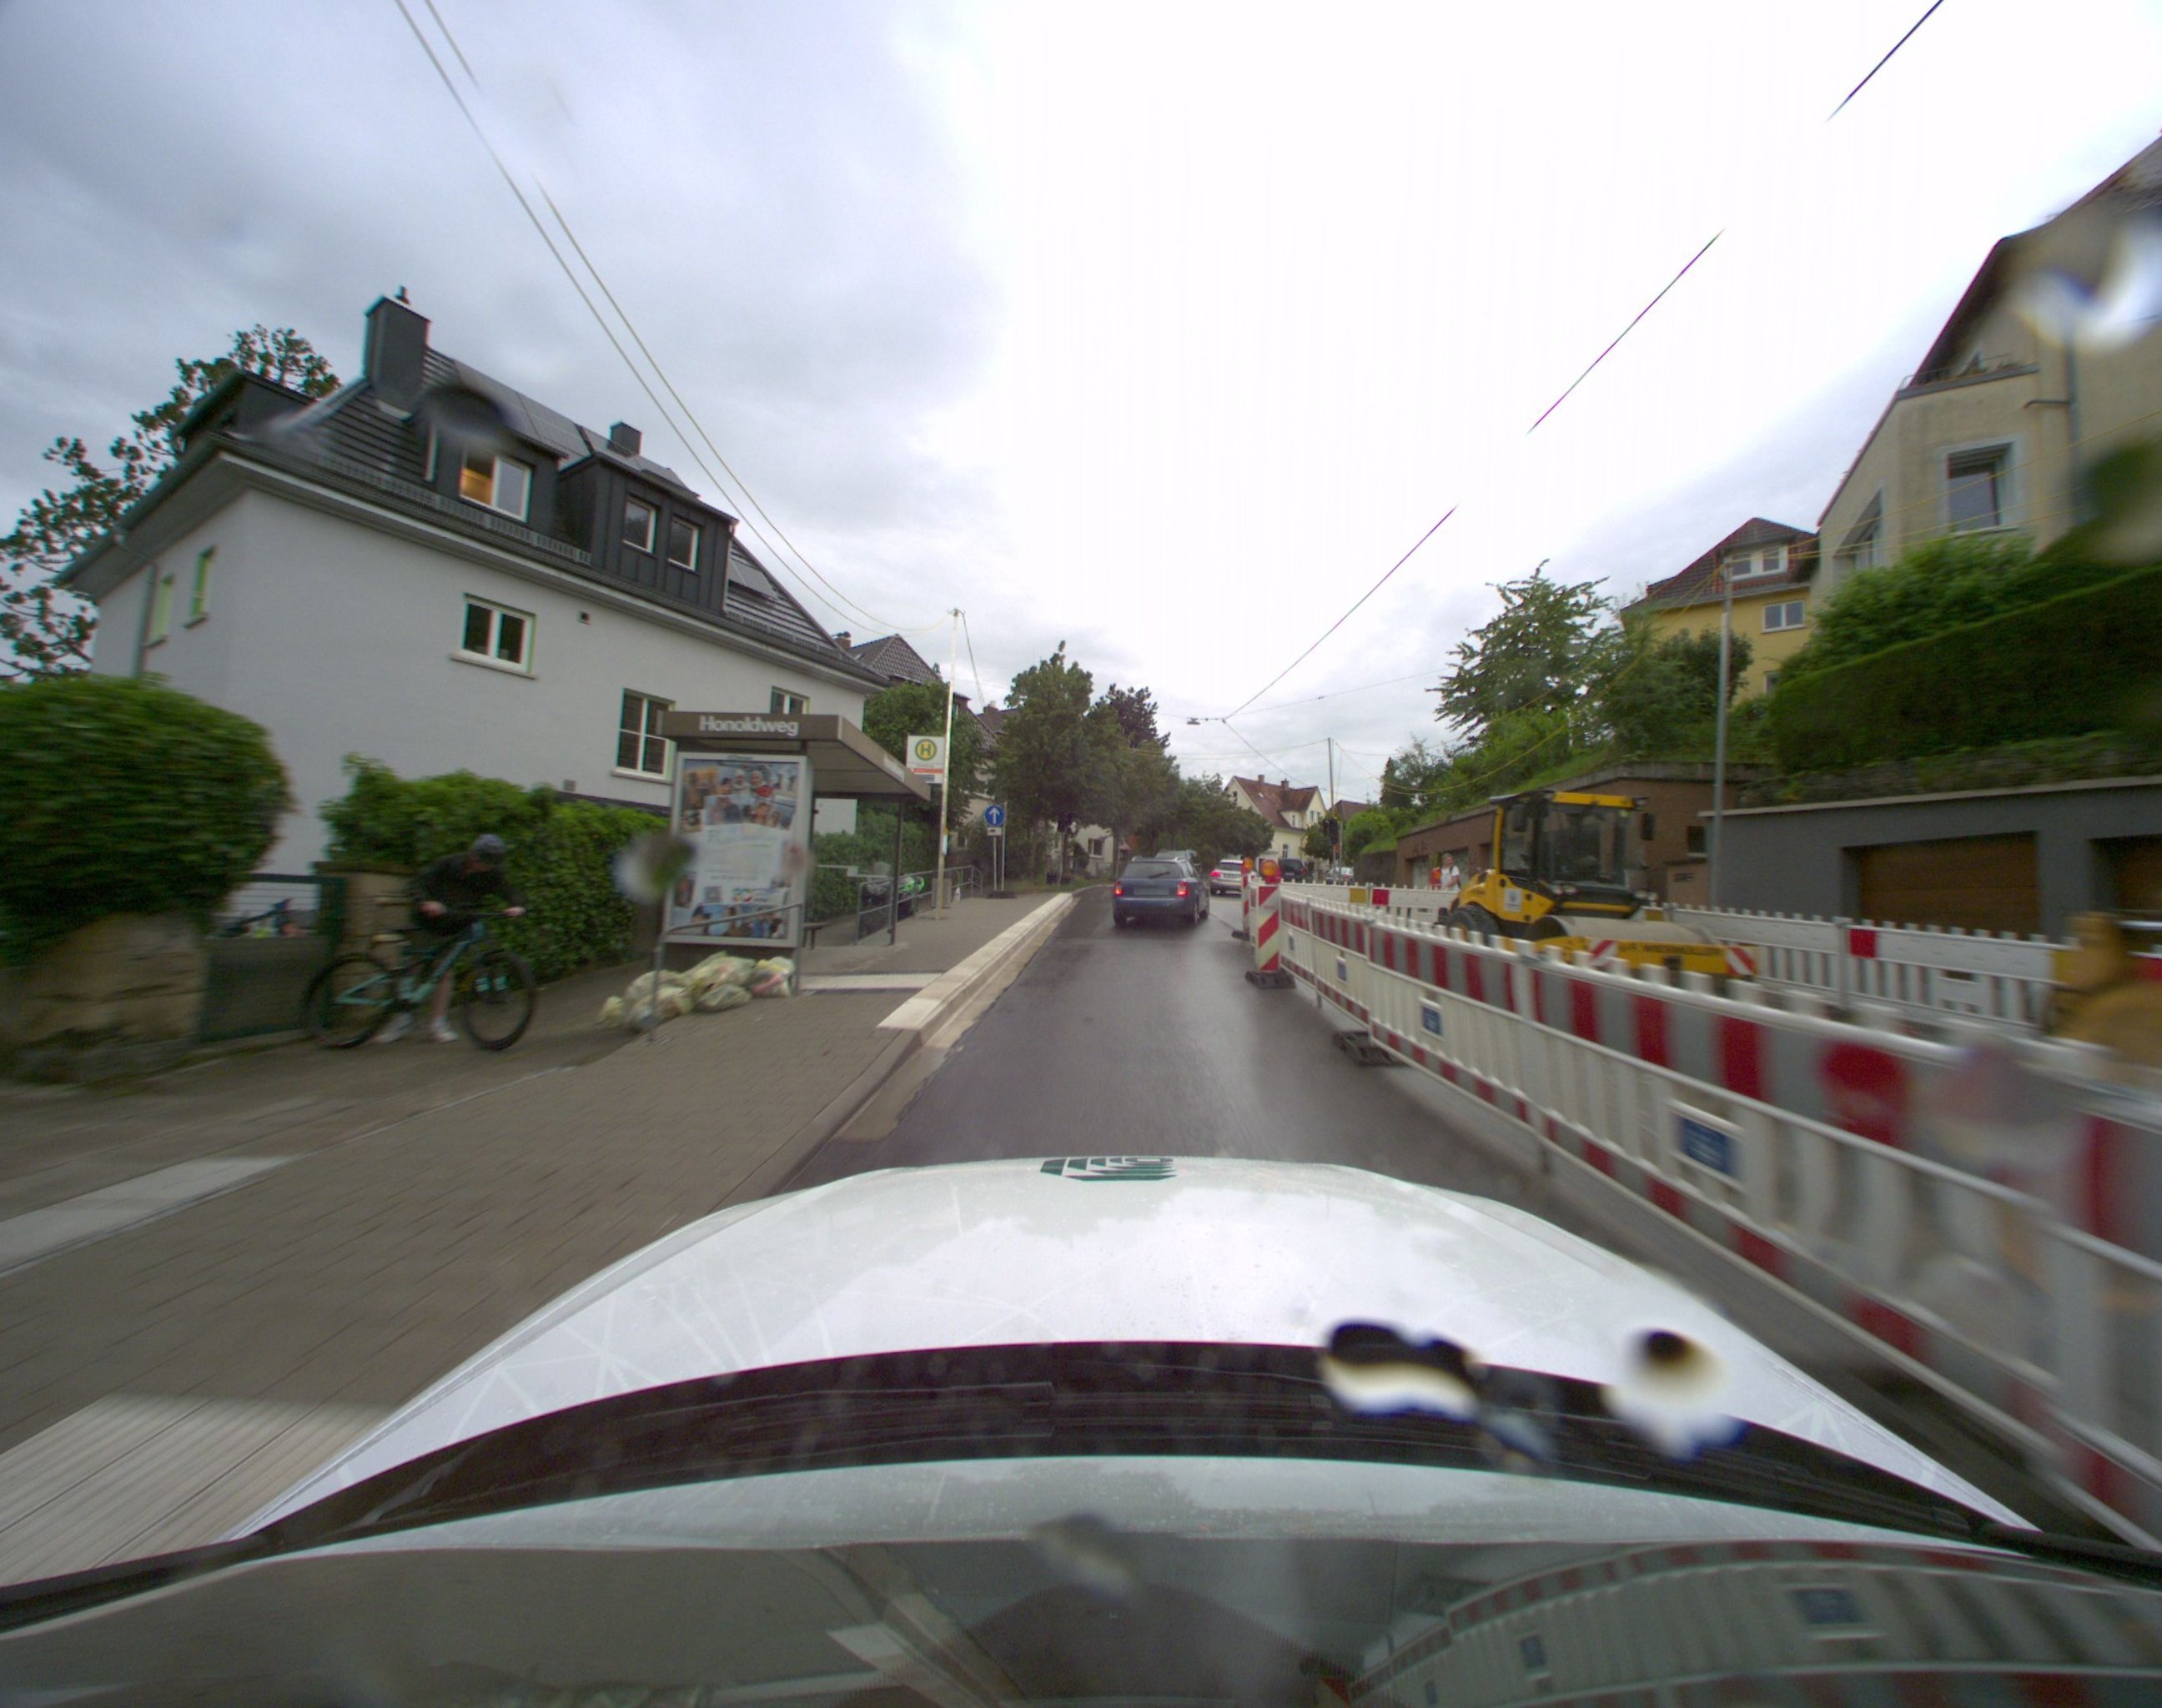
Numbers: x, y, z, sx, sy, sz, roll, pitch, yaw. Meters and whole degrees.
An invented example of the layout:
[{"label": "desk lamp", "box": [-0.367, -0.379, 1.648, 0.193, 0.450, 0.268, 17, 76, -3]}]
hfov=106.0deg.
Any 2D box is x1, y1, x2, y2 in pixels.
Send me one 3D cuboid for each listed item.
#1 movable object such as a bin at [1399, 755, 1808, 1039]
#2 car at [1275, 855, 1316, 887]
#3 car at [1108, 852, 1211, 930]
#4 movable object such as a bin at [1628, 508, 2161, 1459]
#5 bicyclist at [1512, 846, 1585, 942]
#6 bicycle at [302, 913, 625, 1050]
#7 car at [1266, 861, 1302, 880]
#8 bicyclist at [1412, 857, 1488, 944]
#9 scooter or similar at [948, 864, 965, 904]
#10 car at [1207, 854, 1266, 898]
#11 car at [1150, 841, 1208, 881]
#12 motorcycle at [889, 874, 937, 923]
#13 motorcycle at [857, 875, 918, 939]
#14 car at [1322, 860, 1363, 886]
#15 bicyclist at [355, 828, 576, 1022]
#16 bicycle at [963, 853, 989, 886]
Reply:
[{"label": "movable object such as a bin", "box": [6.400, 0.411, 11.091, 2.078, 2.838, 5.680, 1, 0, 2]}, {"label": "car", "box": [13.176, 1.006, 49.899, 1.718, 1.768, 4.259, -1, 1, 24]}, {"label": "car", "box": [1.849, 0.721, 18.030, 1.721, 1.466, 4.015, -1, 1, 13]}, {"label": "movable object such as a bin", "box": [4.259, 0.383, 2.095, 2.078, 2.839, 5.678, 1, -2, 2]}, {"label": "bicyclist", "box": [8.850, 0.735, 15.403, 1.063, 1.728, 0.939, 1, -1, 36]}, {"label": "bicycle", "box": [-4.953, 0.978, 6.638, 1.860, 0.932, 1.100, 0, -1, 10]}, {"label": "car", "box": [16.717, 1.347, 66.870, 1.654, 1.466, 3.919, -1, -2, 33]}, {"label": "bicyclist", "box": [7.578, 0.934, 16.768, 1.072, 1.728, 0.931, 2, -1, -7]}, {"label": "scooter or similar", "box": [-3.480, 0.838, 22.806, 0.322, 1.080, 1.095, -1, 0, 0]}, {"label": "car", "box": [6.514, 0.869, 33.818, 1.960, 1.635, 4.254, -1, 1, 17]}, {"label": "car", "box": [4.994, 0.359, 40.886, 1.881, 1.889, 5.177, 0, -1, 18]}, {"label": "motorcycle", "box": [-3.592, 0.929, 17.537, 0.665, 0.933, 2.009, 0, 0, -1]}, {"label": "motorcycle", "box": [-3.544, 0.941, 15.099, 0.665, 1.036, 2.151, 0, 0, -1]}, {"label": "car", "box": [19.164, 1.381, 59.655, 1.717, 1.769, 4.262, 1, 0, 34]}, {"label": "bicyclist", "box": [-4.960, 0.537, 6.650, 0.900, 1.439, 1.100, 0, -1, 10]}, {"label": "bicycle", "box": [-4.304, 0.613, 33.567, 0.488, 1.271, 2.276, 3, 1, 5]}]
